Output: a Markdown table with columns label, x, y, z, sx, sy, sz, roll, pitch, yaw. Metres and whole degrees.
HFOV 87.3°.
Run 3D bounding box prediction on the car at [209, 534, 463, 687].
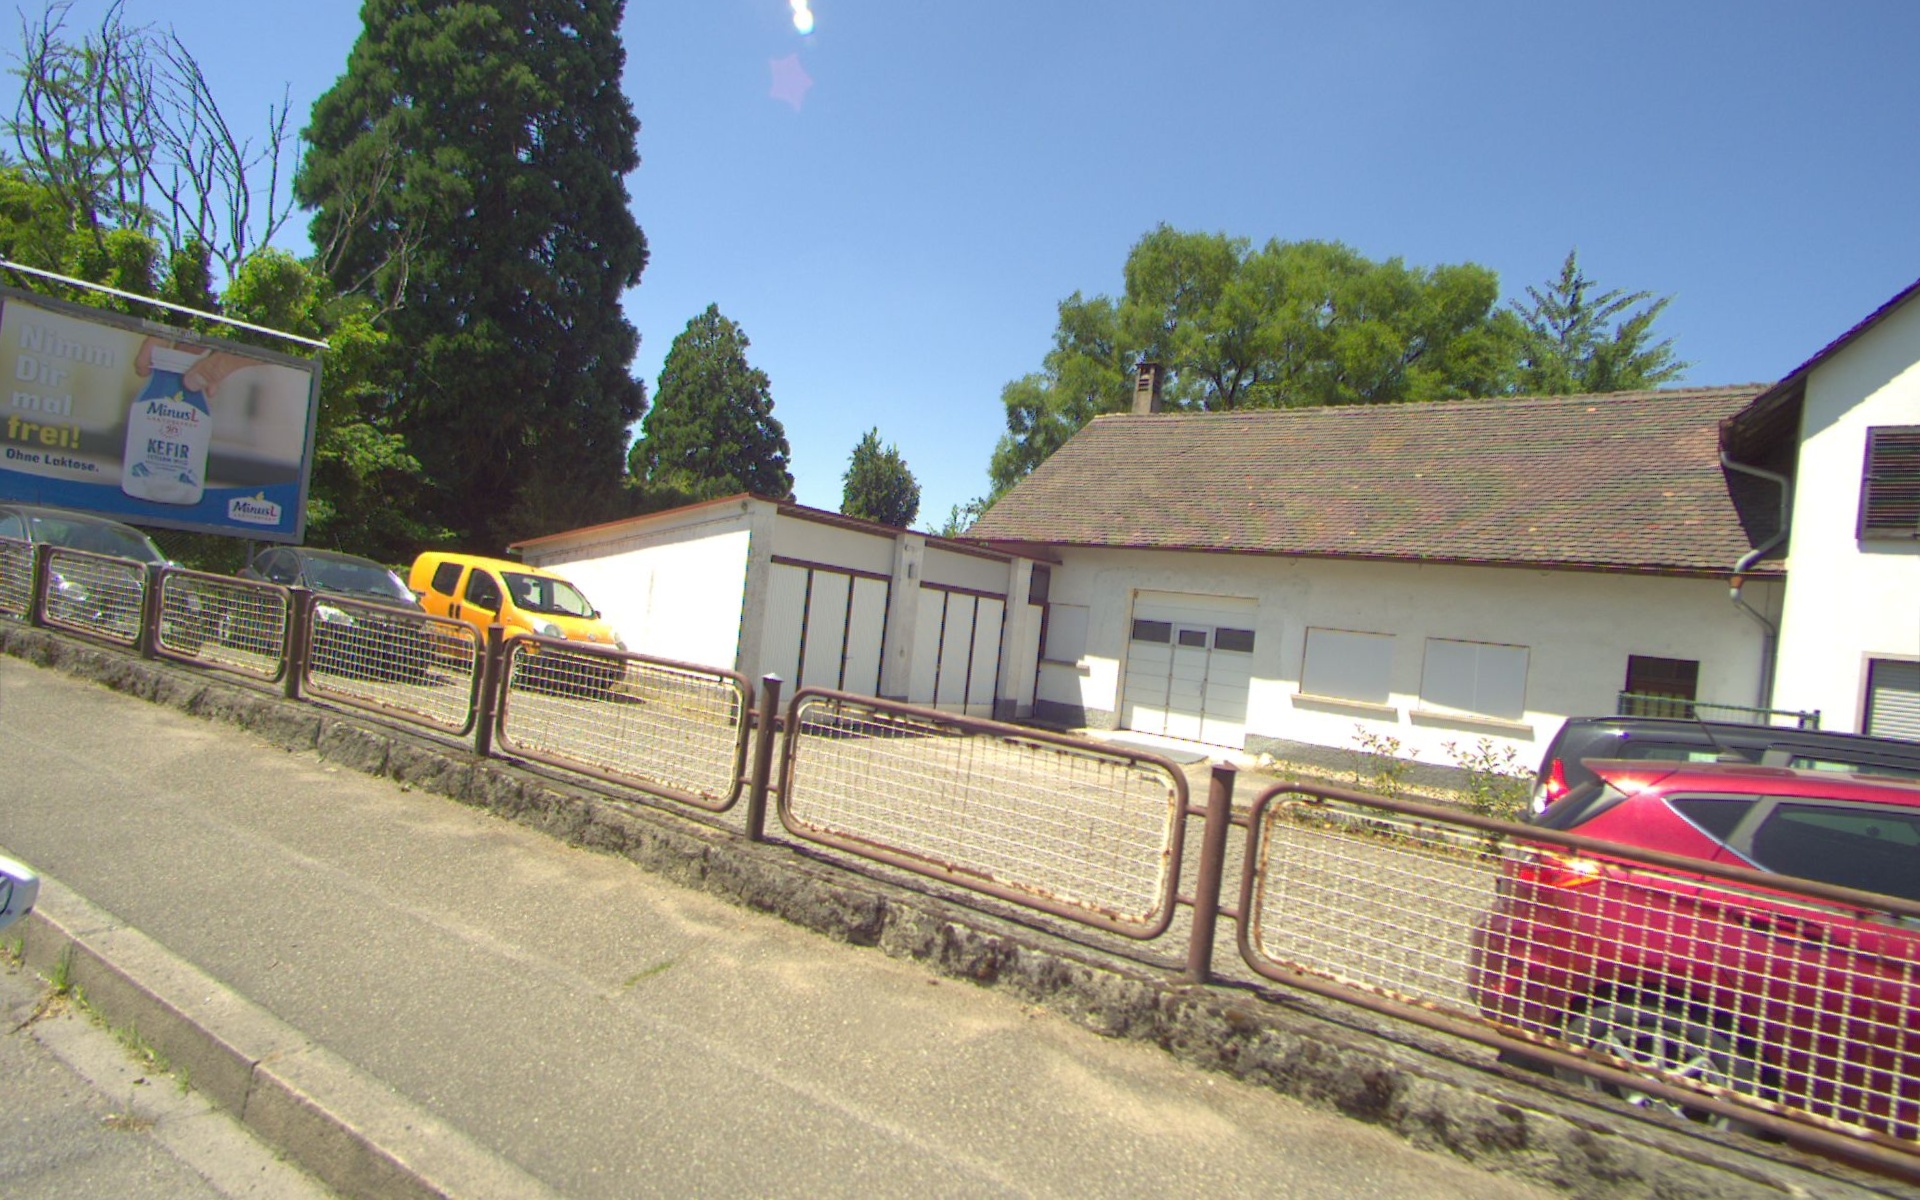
| label | x | y | z | sx | sy | sz | roll | pitch | yaw |
| --- | --- | --- | --- | --- | --- | --- | --- | --- | --- |
| car | -8.433 | 0.114 | 13.538 | 3.341 | 1.559 | 1.634 | 6 | -5 | 37 |

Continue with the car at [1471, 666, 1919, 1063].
| label | x | y | z | sx | sy | sz | roll | pitch | yaw |
| --- | --- | --- | --- | --- | --- | --- | --- | --- | --- |
| car | 5.426 | 1.517 | 5.391 | 4.396 | 1.684 | 1.712 | 6 | -3 | 40 |

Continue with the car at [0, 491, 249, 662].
| label | x | y | z | sx | sy | sz | roll | pitch | yaw |
| --- | --- | --- | --- | --- | --- | --- | --- | --- | --- |
| car | -9.988 | -0.321 | 11.372 | 3.495 | 1.474 | 1.638 | 7 | -4 | 28 |

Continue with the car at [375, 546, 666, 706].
| label | x | y | z | sx | sy | sz | roll | pitch | yaw |
| --- | --- | --- | --- | --- | --- | --- | --- | --- | --- |
| car | -6.775 | 0.379 | 15.431 | 4.095 | 1.818 | 1.781 | 6 | -4 | 30 |

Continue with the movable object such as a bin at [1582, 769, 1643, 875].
| label | x | y | z | sx | sy | sz | roll | pitch | yaw |
| --- | --- | --- | --- | --- | --- | --- | --- | --- | --- |
| movable object such as a bin | 6.810 | 2.302 | 10.494 | 0.410 | 0.981 | 0.451 | 7 | 0 | 38 |

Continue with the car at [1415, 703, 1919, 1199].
| label | x | y | z | sx | sy | sz | roll | pitch | yaw |
| --- | --- | --- | --- | --- | --- | --- | --- | --- | --- |
| car | 3.812 | 1.388 | 3.346 | 3.782 | 1.542 | 1.711 | 6 | -1 | 38 |
